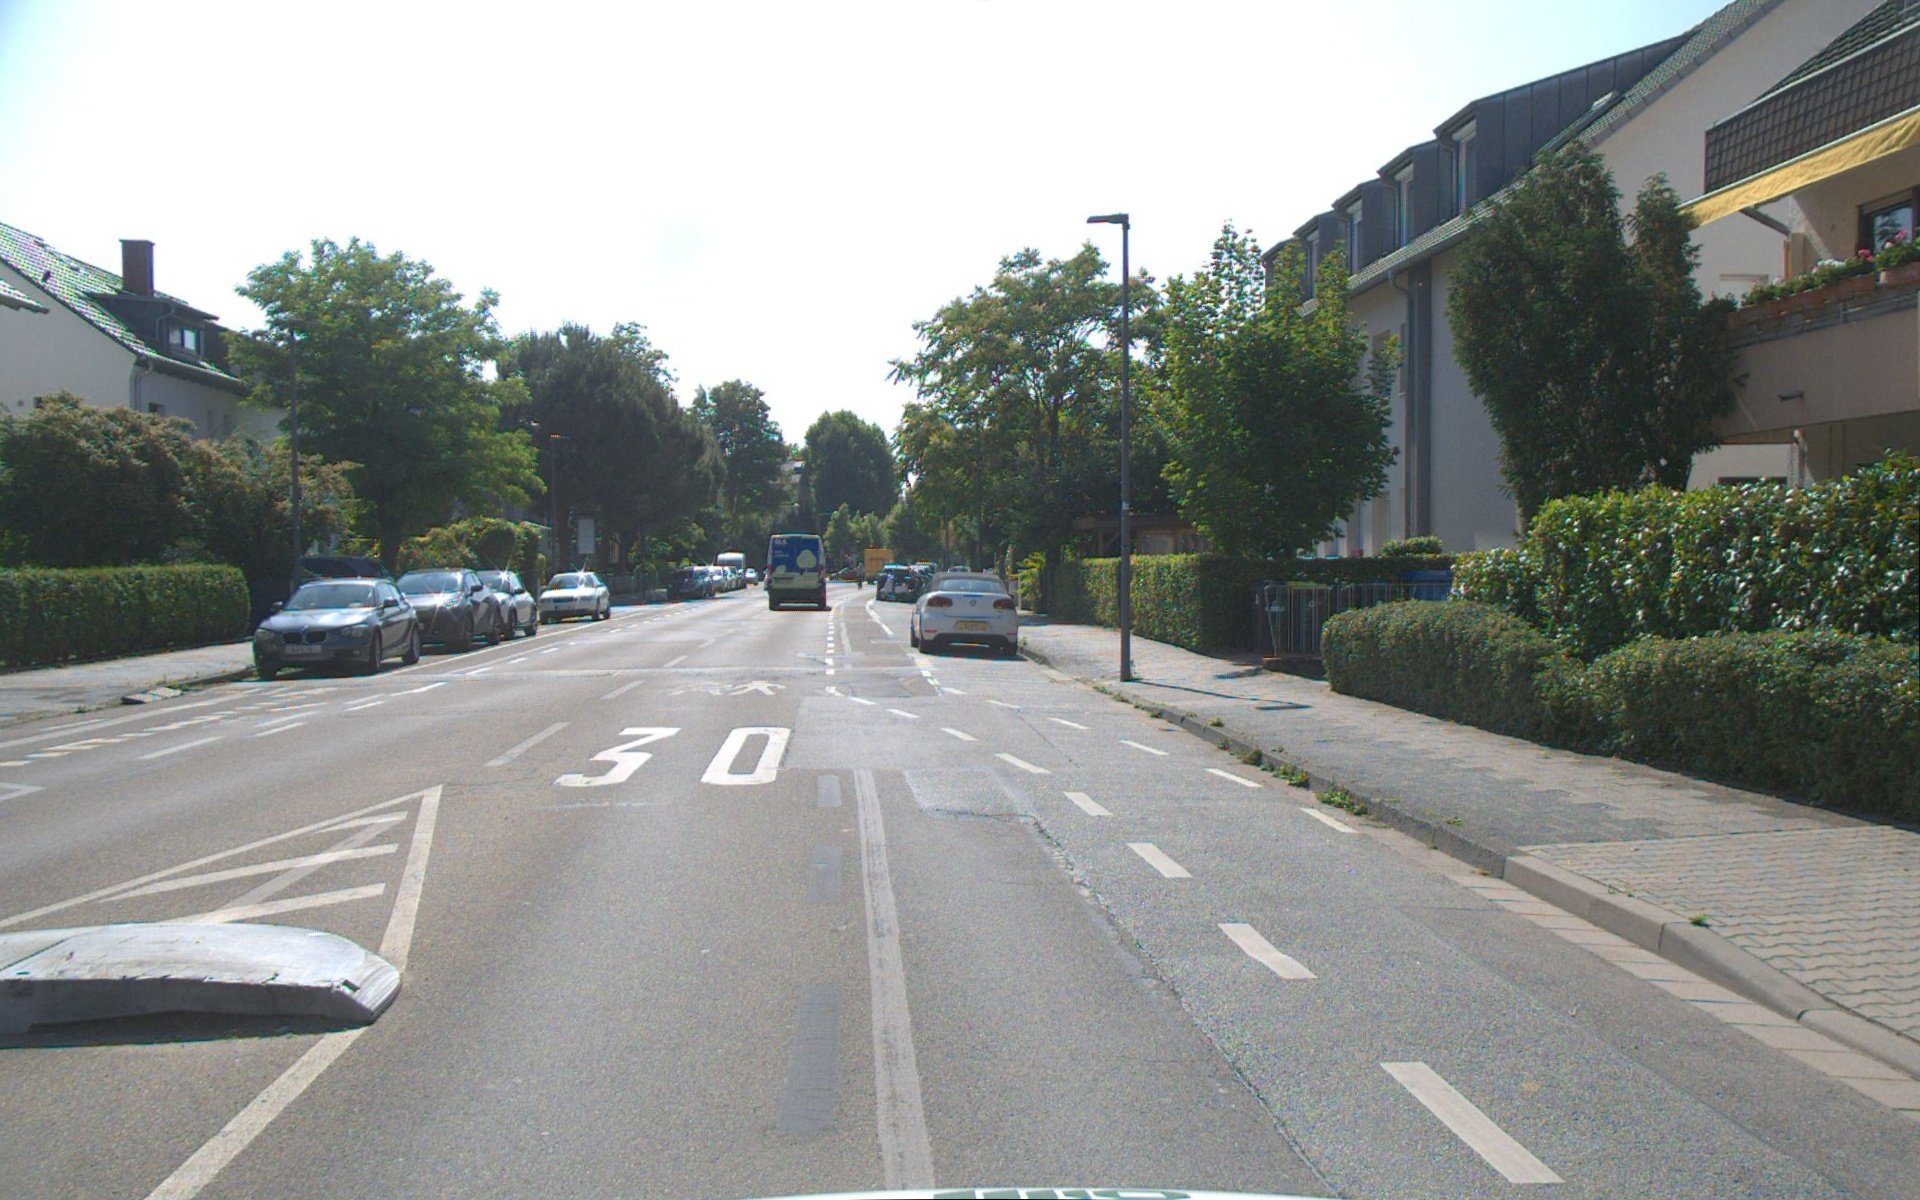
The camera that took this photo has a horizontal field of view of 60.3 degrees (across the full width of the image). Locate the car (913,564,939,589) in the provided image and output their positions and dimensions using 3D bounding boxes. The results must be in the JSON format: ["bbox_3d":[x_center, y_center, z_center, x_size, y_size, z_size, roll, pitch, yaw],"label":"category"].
[{"bbox_3d":[-2.310,-1.621,112.399,1.666,1.706,3.774,0,1,-1],"label":"car"}]

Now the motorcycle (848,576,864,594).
[{"bbox_3d":[-6.904,-1.025,110.012,1.035,1.142,2.990,-1,1,-4],"label":"motorcycle"}]

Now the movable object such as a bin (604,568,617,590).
[{"bbox_3d":[-18.058,-1.103,85.398,0.532,1.130,0.585,0,1,1],"label":"movable object such as a bin"}]

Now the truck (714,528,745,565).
[{"bbox_3d":[-16.554,-3.826,118.965,2.041,2.581,5.459,-1,1,-7],"label":"truck"}]

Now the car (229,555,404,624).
[{"bbox_3d":[-17.149,-0.299,44.211,3.908,1.790,1.999,0,2,-4],"label":"car"}]

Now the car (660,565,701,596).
[{"bbox_3d":[-14.098,-0.996,83.585,1.746,1.485,4.082,-1,1,-5],"label":"car"}]

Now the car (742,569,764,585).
[{"bbox_3d":[-17.363,-1.943,139.068,1.720,1.367,3.650,-1,1,-5],"label":"car"}]

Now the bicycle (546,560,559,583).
[{"bbox_3d":[-21.779,-1.538,88.367,0.529,1.202,1.438,-2,3,-20],"label":"bicycle"}]

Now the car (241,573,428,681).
[{"bbox_3d":[-9.721,0.350,26.013,1.751,1.465,4.149,-2,2,-7],"label":"car"}]

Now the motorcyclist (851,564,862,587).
[{"bbox_3d":[-6.885,-1.624,109.969,0.659,1.545,0.652,0,1,-3],"label":"motorcyclist"}]

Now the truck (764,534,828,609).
[{"bbox_3d":[-5.968,-1.032,60.219,2.228,2.616,4.387,-1,1,-6],"label":"truck"}]

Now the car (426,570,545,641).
[{"bbox_3d":[-10.654,0.080,37.419,1.750,1.465,3.998,0,1,-4],"label":"car"}]

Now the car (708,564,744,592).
[{"bbox_3d":[-14.163,-1.347,100.462,1.798,1.623,3.773,0,1,-3],"label":"car"}]

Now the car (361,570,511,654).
[{"bbox_3d":[-10.139,0.178,32.296,1.750,1.465,4.109,-2,1,-3],"label":"car"}]

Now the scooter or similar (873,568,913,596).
[{"bbox_3d":[-3.041,-0.816,75.125,1.765,1.174,0.716,4,1,41],"label":"scooter or similar"}]

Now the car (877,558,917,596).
[{"bbox_3d":[-2.976,-1.113,77.858,1.749,1.666,4.468,1,1,-4],"label":"car"}]

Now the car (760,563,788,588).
[{"bbox_3d":[-12.103,-1.606,107.888,1.698,1.567,3.996,-2,1,-5],"label":"car"}]

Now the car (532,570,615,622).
[{"bbox_3d":[-11.427,-0.147,49.078,1.750,1.465,3.997,-1,1,-4],"label":"car"}]

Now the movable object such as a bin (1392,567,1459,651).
[{"bbox_3d":[7.195,0.129,25.589,0.732,1.265,0.792,-1,1,-9],"label":"movable object such as a bin"}]

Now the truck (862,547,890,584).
[{"bbox_3d":[-7.002,-2.881,138.267,2.169,2.997,5.684,0,1,-2],"label":"truck"}]

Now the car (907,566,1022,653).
[{"bbox_3d":[0.015,0.126,30.074,1.706,1.426,4.070,1,2,-5],"label":"car"}]
